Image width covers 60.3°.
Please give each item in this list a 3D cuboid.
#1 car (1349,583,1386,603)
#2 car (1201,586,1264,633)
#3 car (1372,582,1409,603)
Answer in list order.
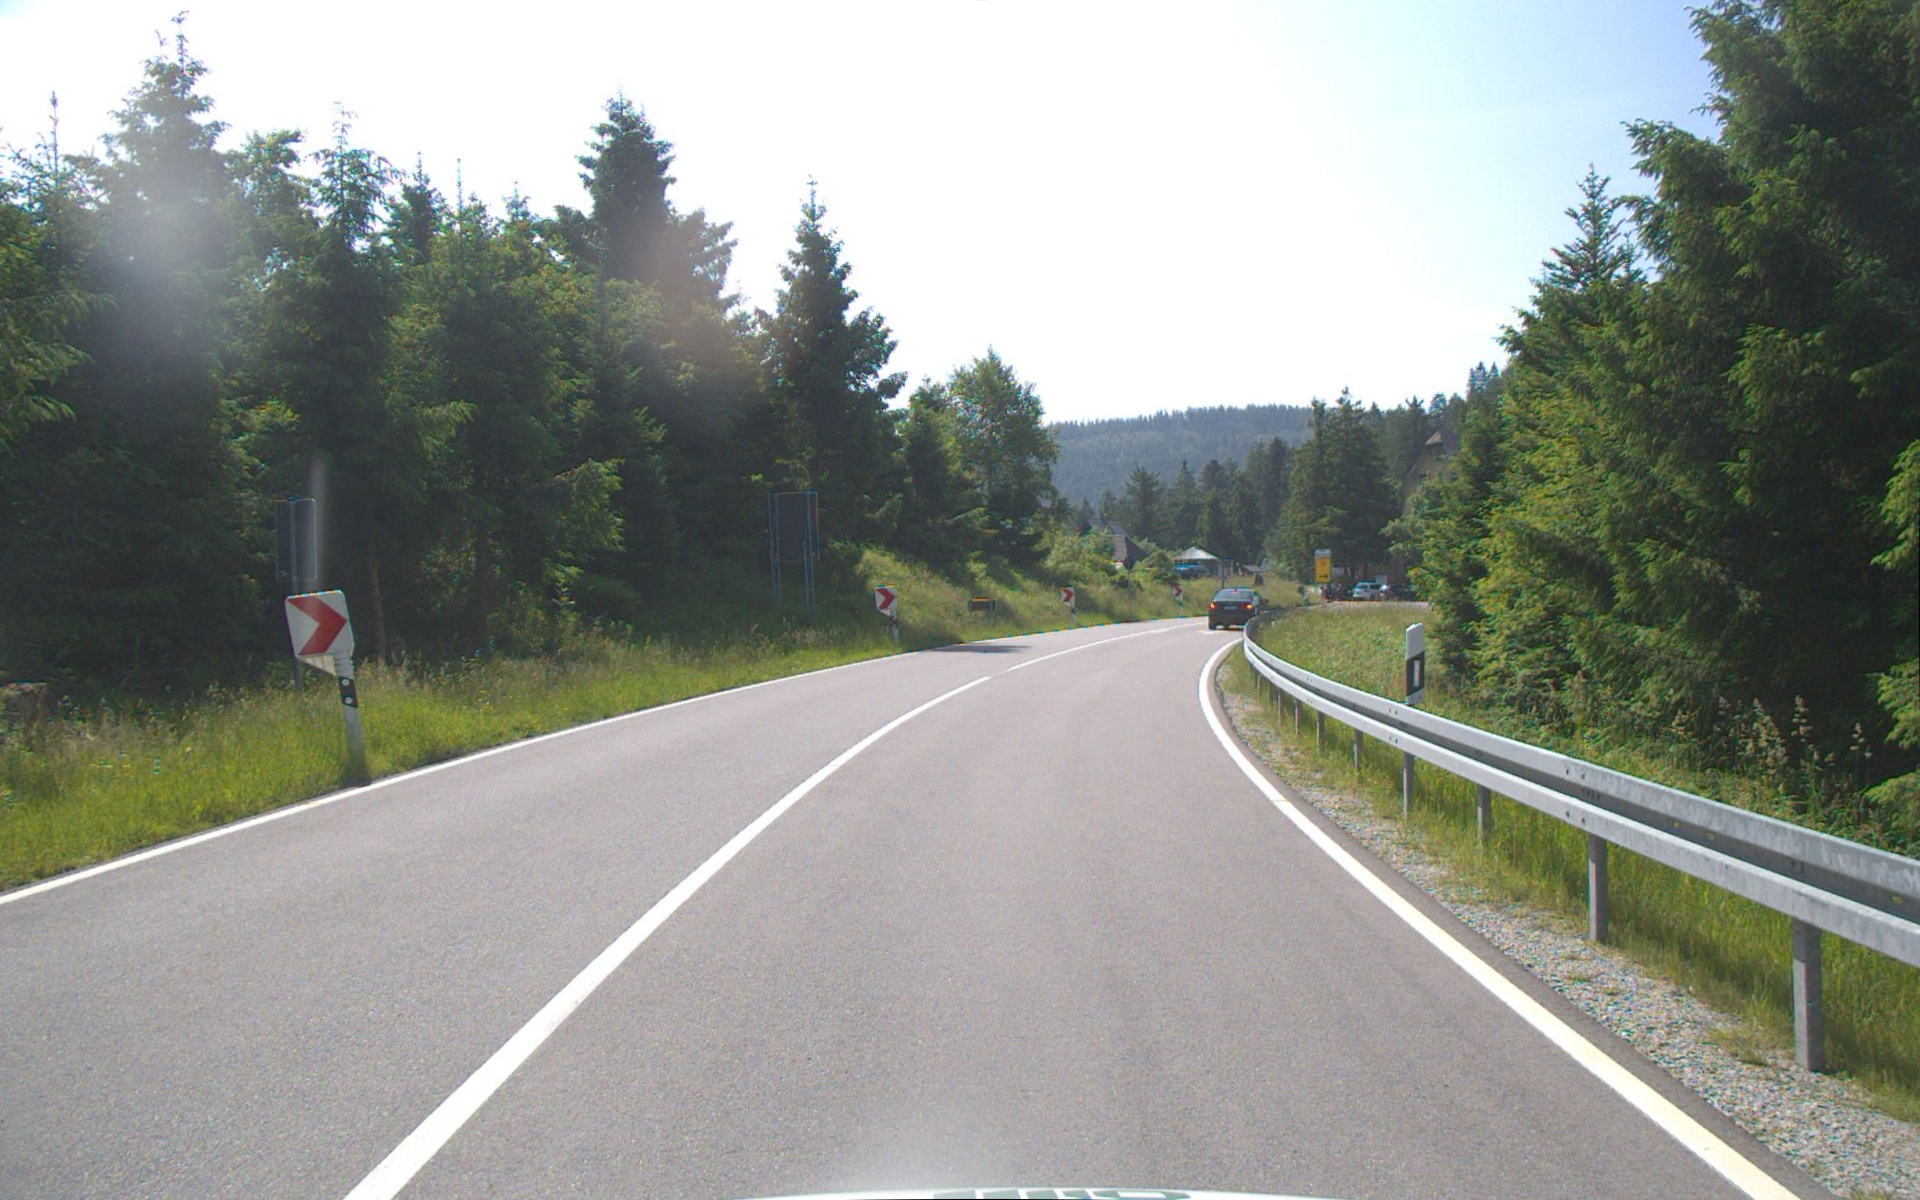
[{"bbox_3d":[36.050,-0.627,146.346,1.821,1.700,4.373,-2,0,33],"label":"car"},{"bbox_3d":[9.760,0.321,59.010,1.739,1.467,3.712,3,2,16],"label":"car"},{"bbox_3d":[37.604,-0.662,144.399,1.855,1.677,4.282,-2,0,34],"label":"car"}]
